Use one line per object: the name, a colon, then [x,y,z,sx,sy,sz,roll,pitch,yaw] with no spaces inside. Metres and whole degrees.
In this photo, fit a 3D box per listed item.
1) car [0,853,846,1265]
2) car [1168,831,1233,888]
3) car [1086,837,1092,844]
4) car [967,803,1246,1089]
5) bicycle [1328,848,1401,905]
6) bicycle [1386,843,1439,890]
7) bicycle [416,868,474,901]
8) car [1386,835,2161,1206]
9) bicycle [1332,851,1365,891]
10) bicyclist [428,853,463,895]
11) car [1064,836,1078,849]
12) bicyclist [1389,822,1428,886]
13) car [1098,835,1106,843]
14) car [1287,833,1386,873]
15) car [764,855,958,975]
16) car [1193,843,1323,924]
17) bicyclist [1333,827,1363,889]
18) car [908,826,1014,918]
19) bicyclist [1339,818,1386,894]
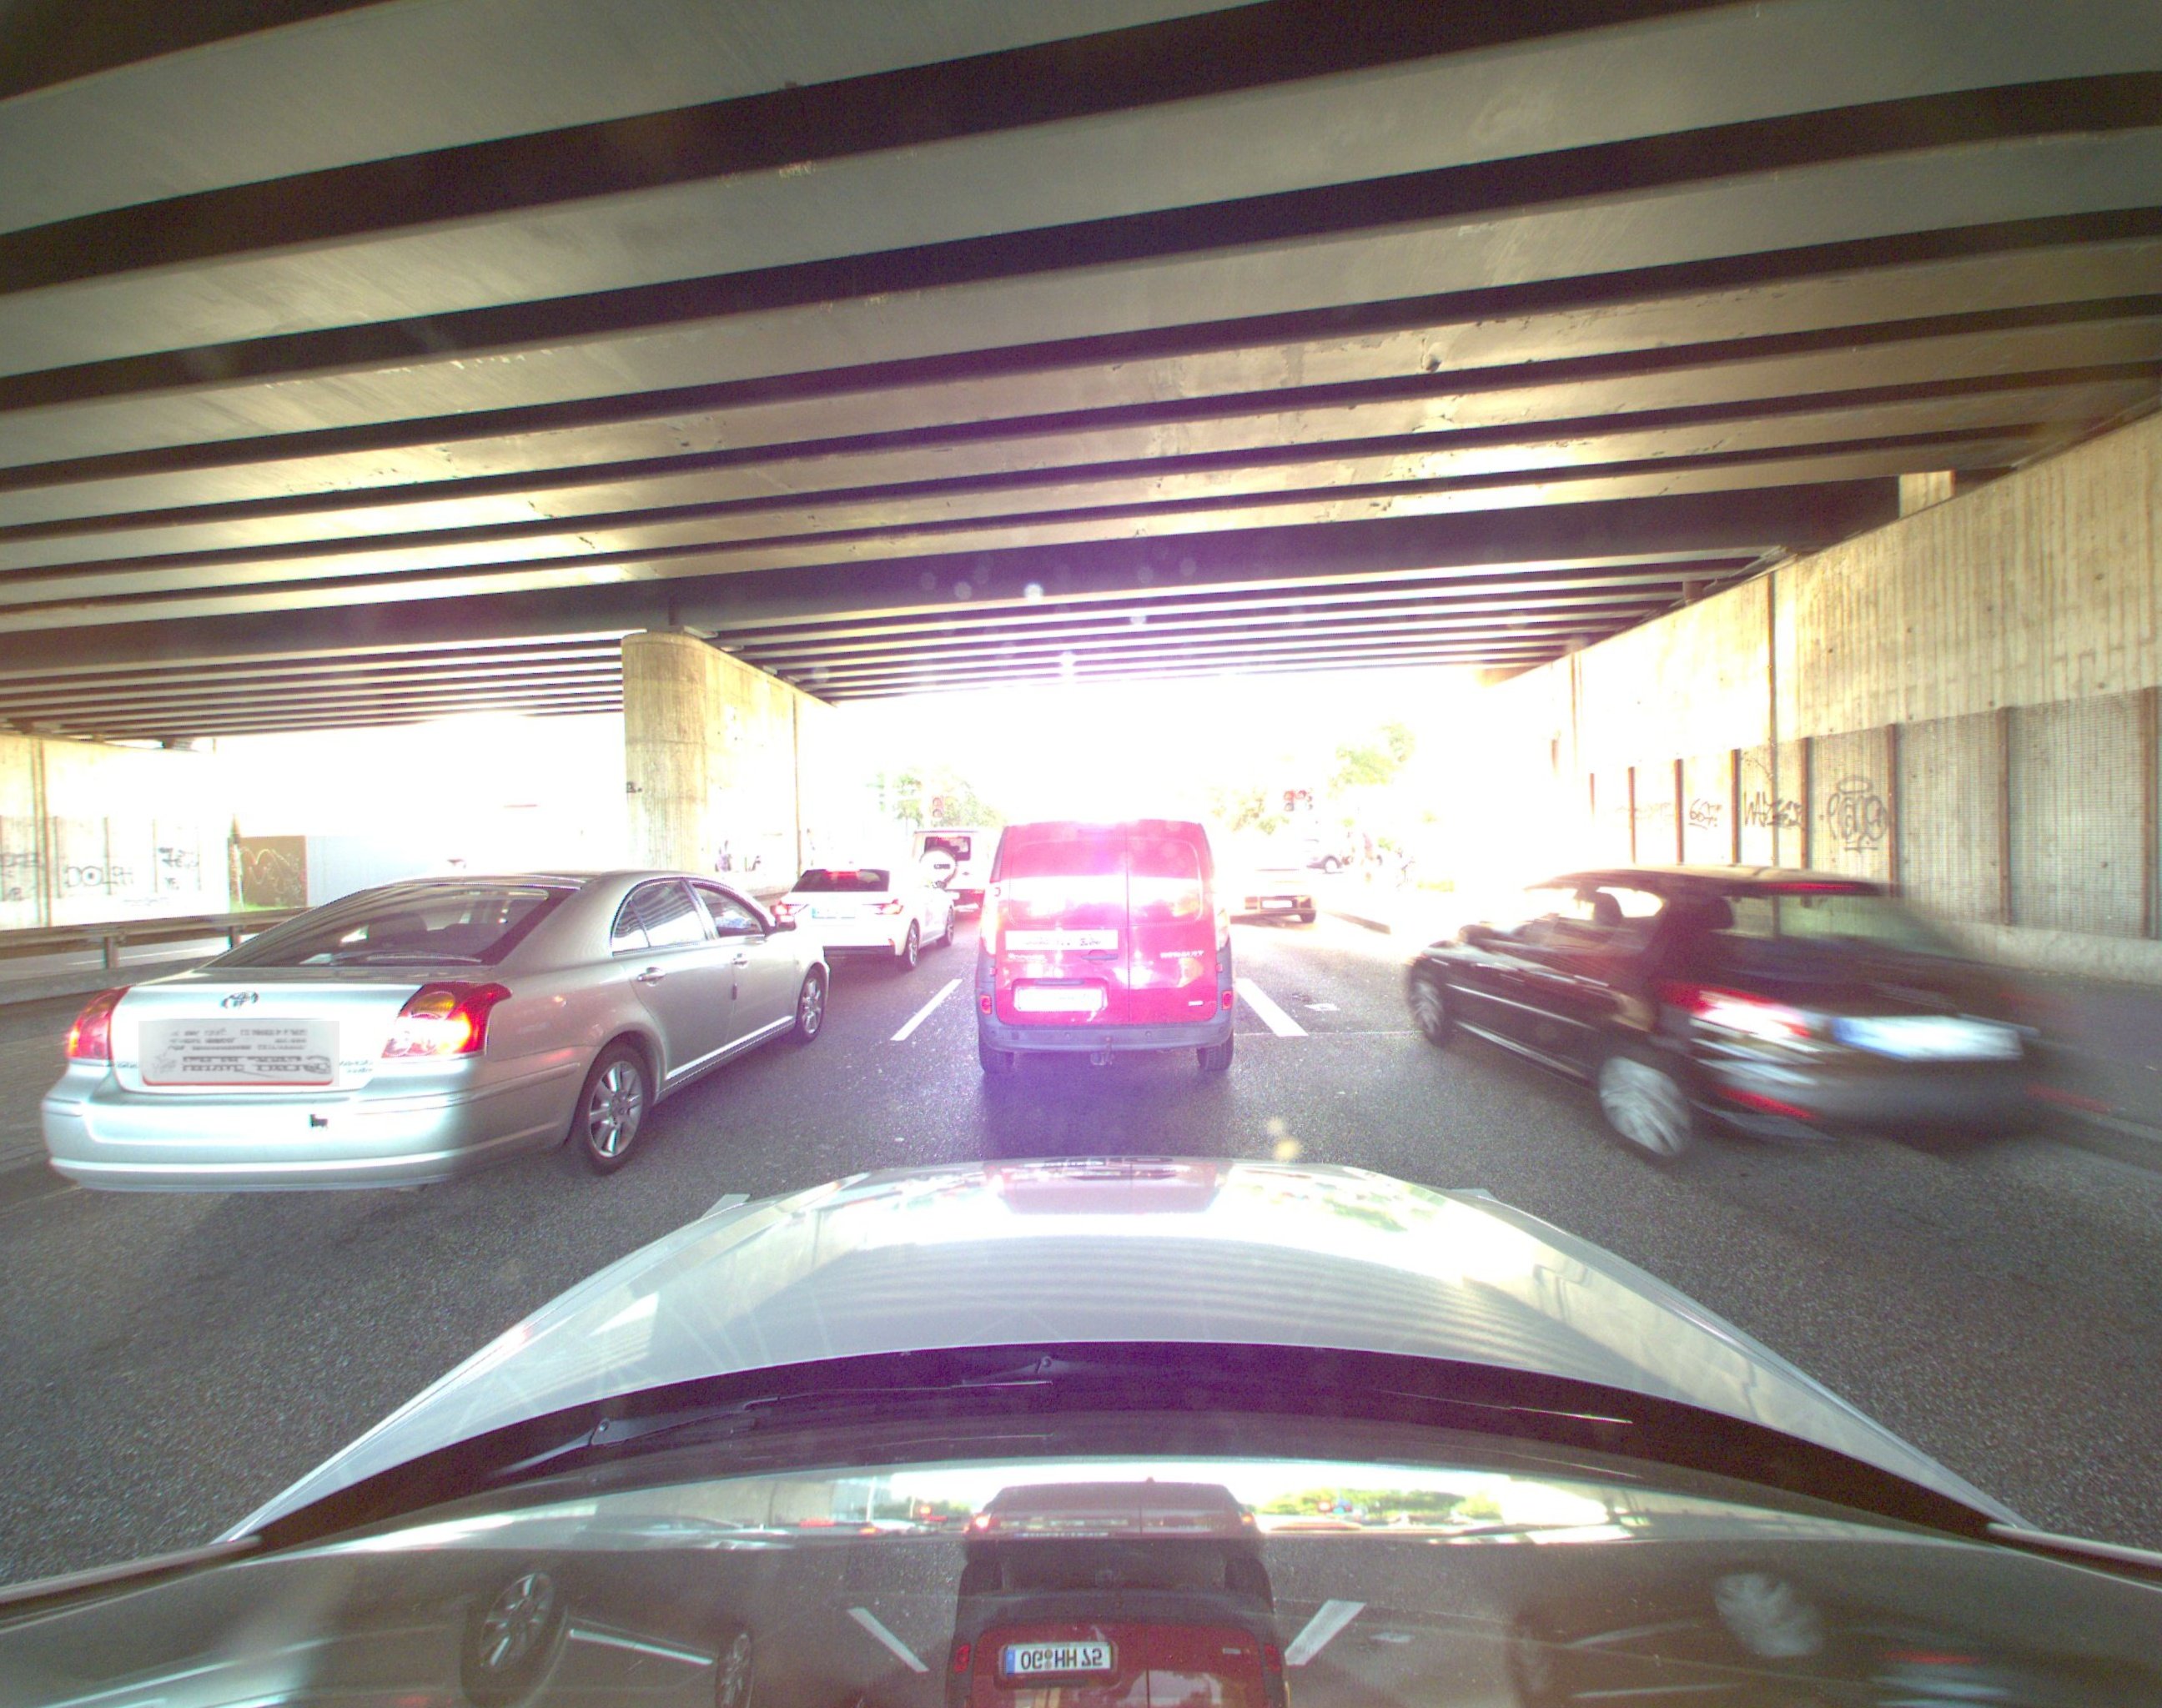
car: [-3.006,0.732,5.114,1.690,1.455,4.399,0,0,1]
car: [4.254,0.134,28.505,1.800,1.833,4.317,0,1,14]
car: [2.530,-4.095,252.345,1.741,2.014,3.846,0,0,2]
car: [0.219,0.565,7.049,1.712,1.764,4.002,0,0,2]
bicycle: [6.304,0.462,18.265,0.762,1.146,2.470,-3,0,1]
bicycle: [8.329,0.313,20.530,0.678,1.113,1.604,-2,0,1]
bicycle: [-23.746,1.126,30.451,0.631,1.165,1.878,0,0,2]
car: [3.501,0.653,5.108,1.740,1.456,3.715,0,0,-1]
bicycle: [7.115,0.435,21.722,0.672,1.024,1.534,0,0,12]
bicyclist: [-23.752,0.743,30.469,0.625,1.525,0.837,0,-1,1]
car: [-1.494,-1.754,125.995,1.986,2.014,4.001,0,0,2]
bicyclist: [8.323,0.004,20.699,0.667,1.561,0.735,-2,-1,1]
car: [5.728,-4.038,220.842,1.986,2.014,4.001,0,0,2]
car: [11.212,-0.065,35.691,4.118,1.622,1.794,-1,0,-28]
car: [-2.923,0.727,11.661,1.687,1.410,3.813,0,0,0]
car: [3.546,0.526,17.164,1.740,1.456,4.664,0,0,0]
bicyclist: [7.106,0.115,21.703,0.673,1.629,0.646,0,-1,12]
car: [-2.679,0.377,19.000,1.807,1.904,3.814,0,0,1]
bicyclist: [6.282,0.039,18.220,0.744,1.655,0.886,0,-1,1]
